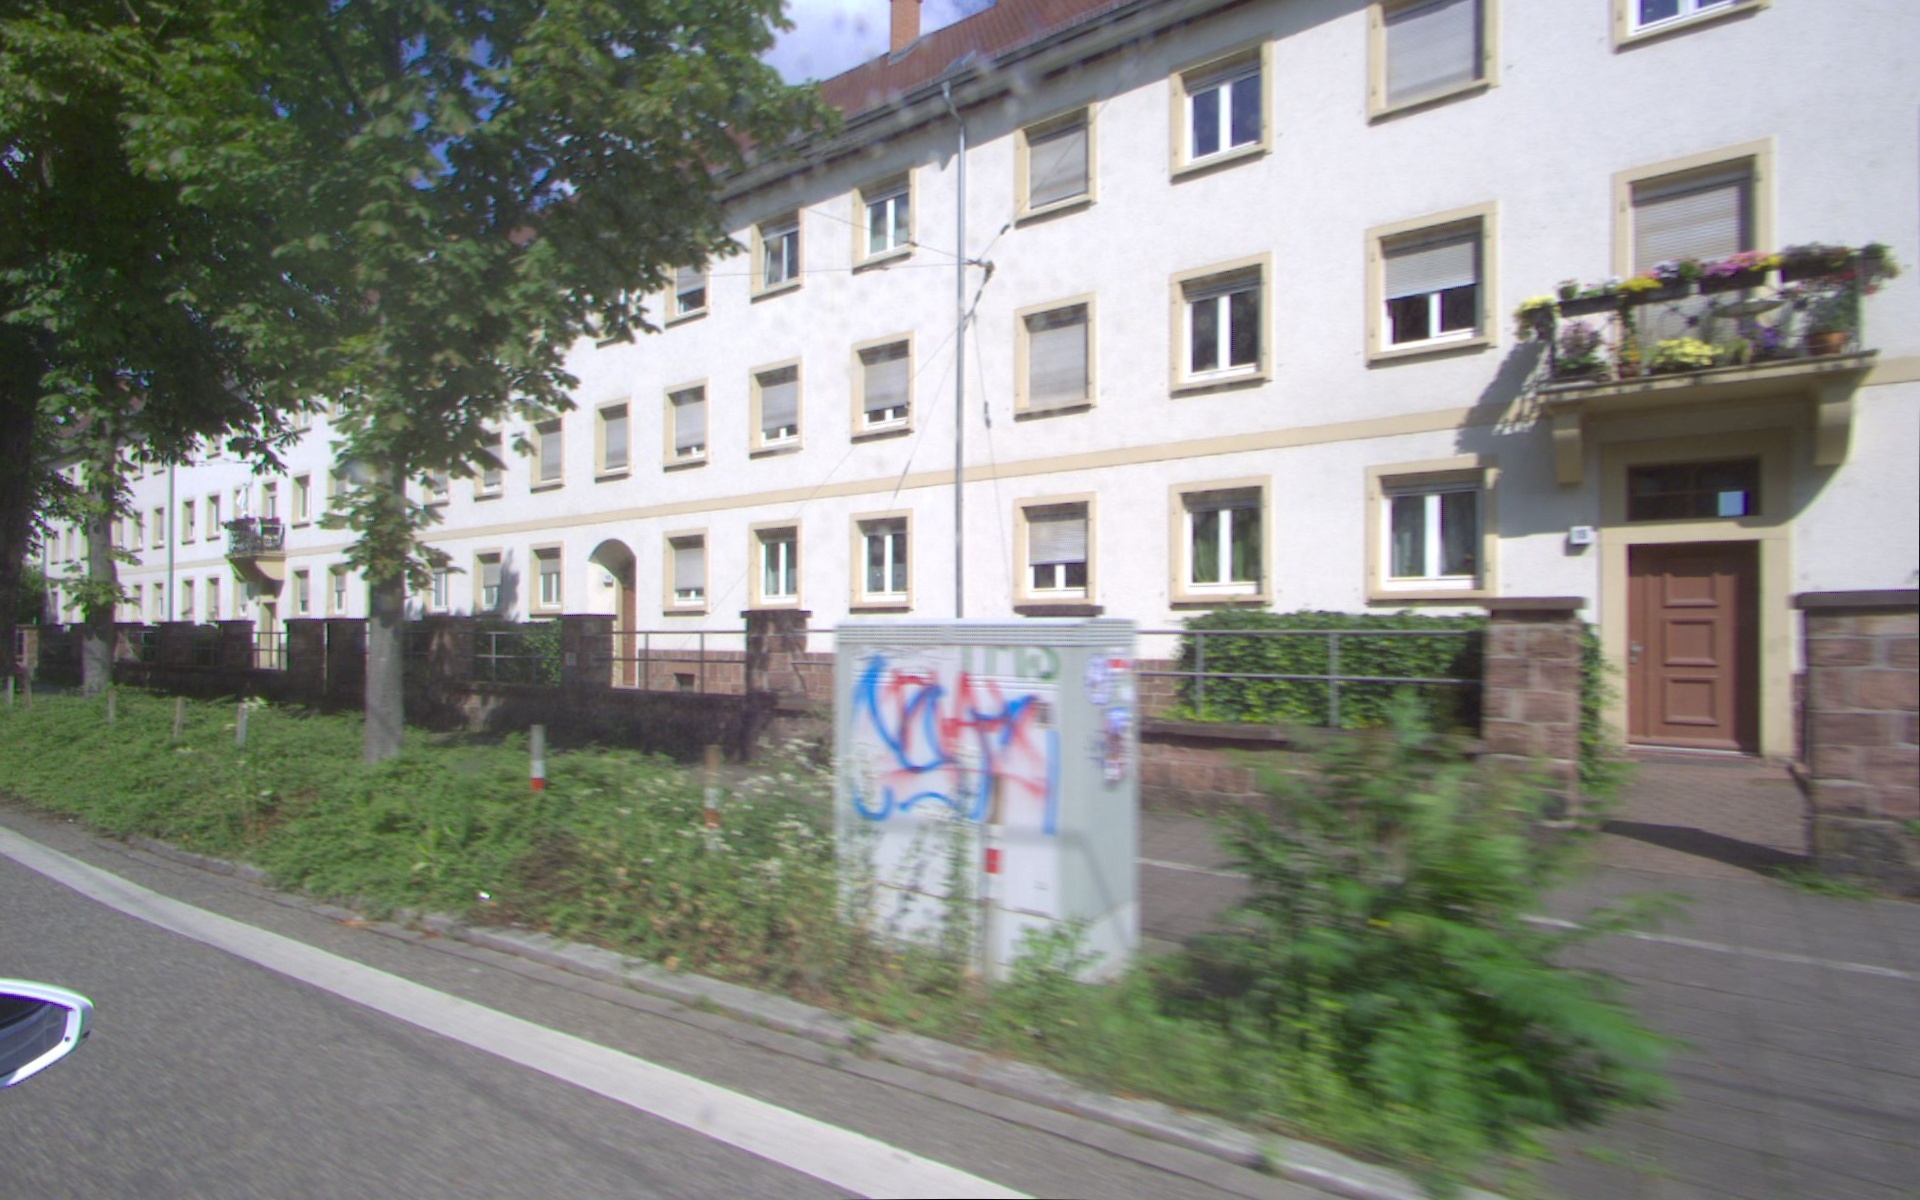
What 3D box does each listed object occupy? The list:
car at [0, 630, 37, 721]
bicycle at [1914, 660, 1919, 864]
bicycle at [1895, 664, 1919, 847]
[{"bbox_3d":[-18.113,1.293,17.816,4.231,1.540,1.656,-1,-2,36],"label":"car"},{"bbox_3d":[6.241,0.951,5.431,1.471,1.216,0.503,-1,-2,35],"label":"bicycle"},{"bbox_3d":[7.162,1.050,6.535,1.470,1.216,0.503,-1,-2,34],"label":"bicycle"}]
